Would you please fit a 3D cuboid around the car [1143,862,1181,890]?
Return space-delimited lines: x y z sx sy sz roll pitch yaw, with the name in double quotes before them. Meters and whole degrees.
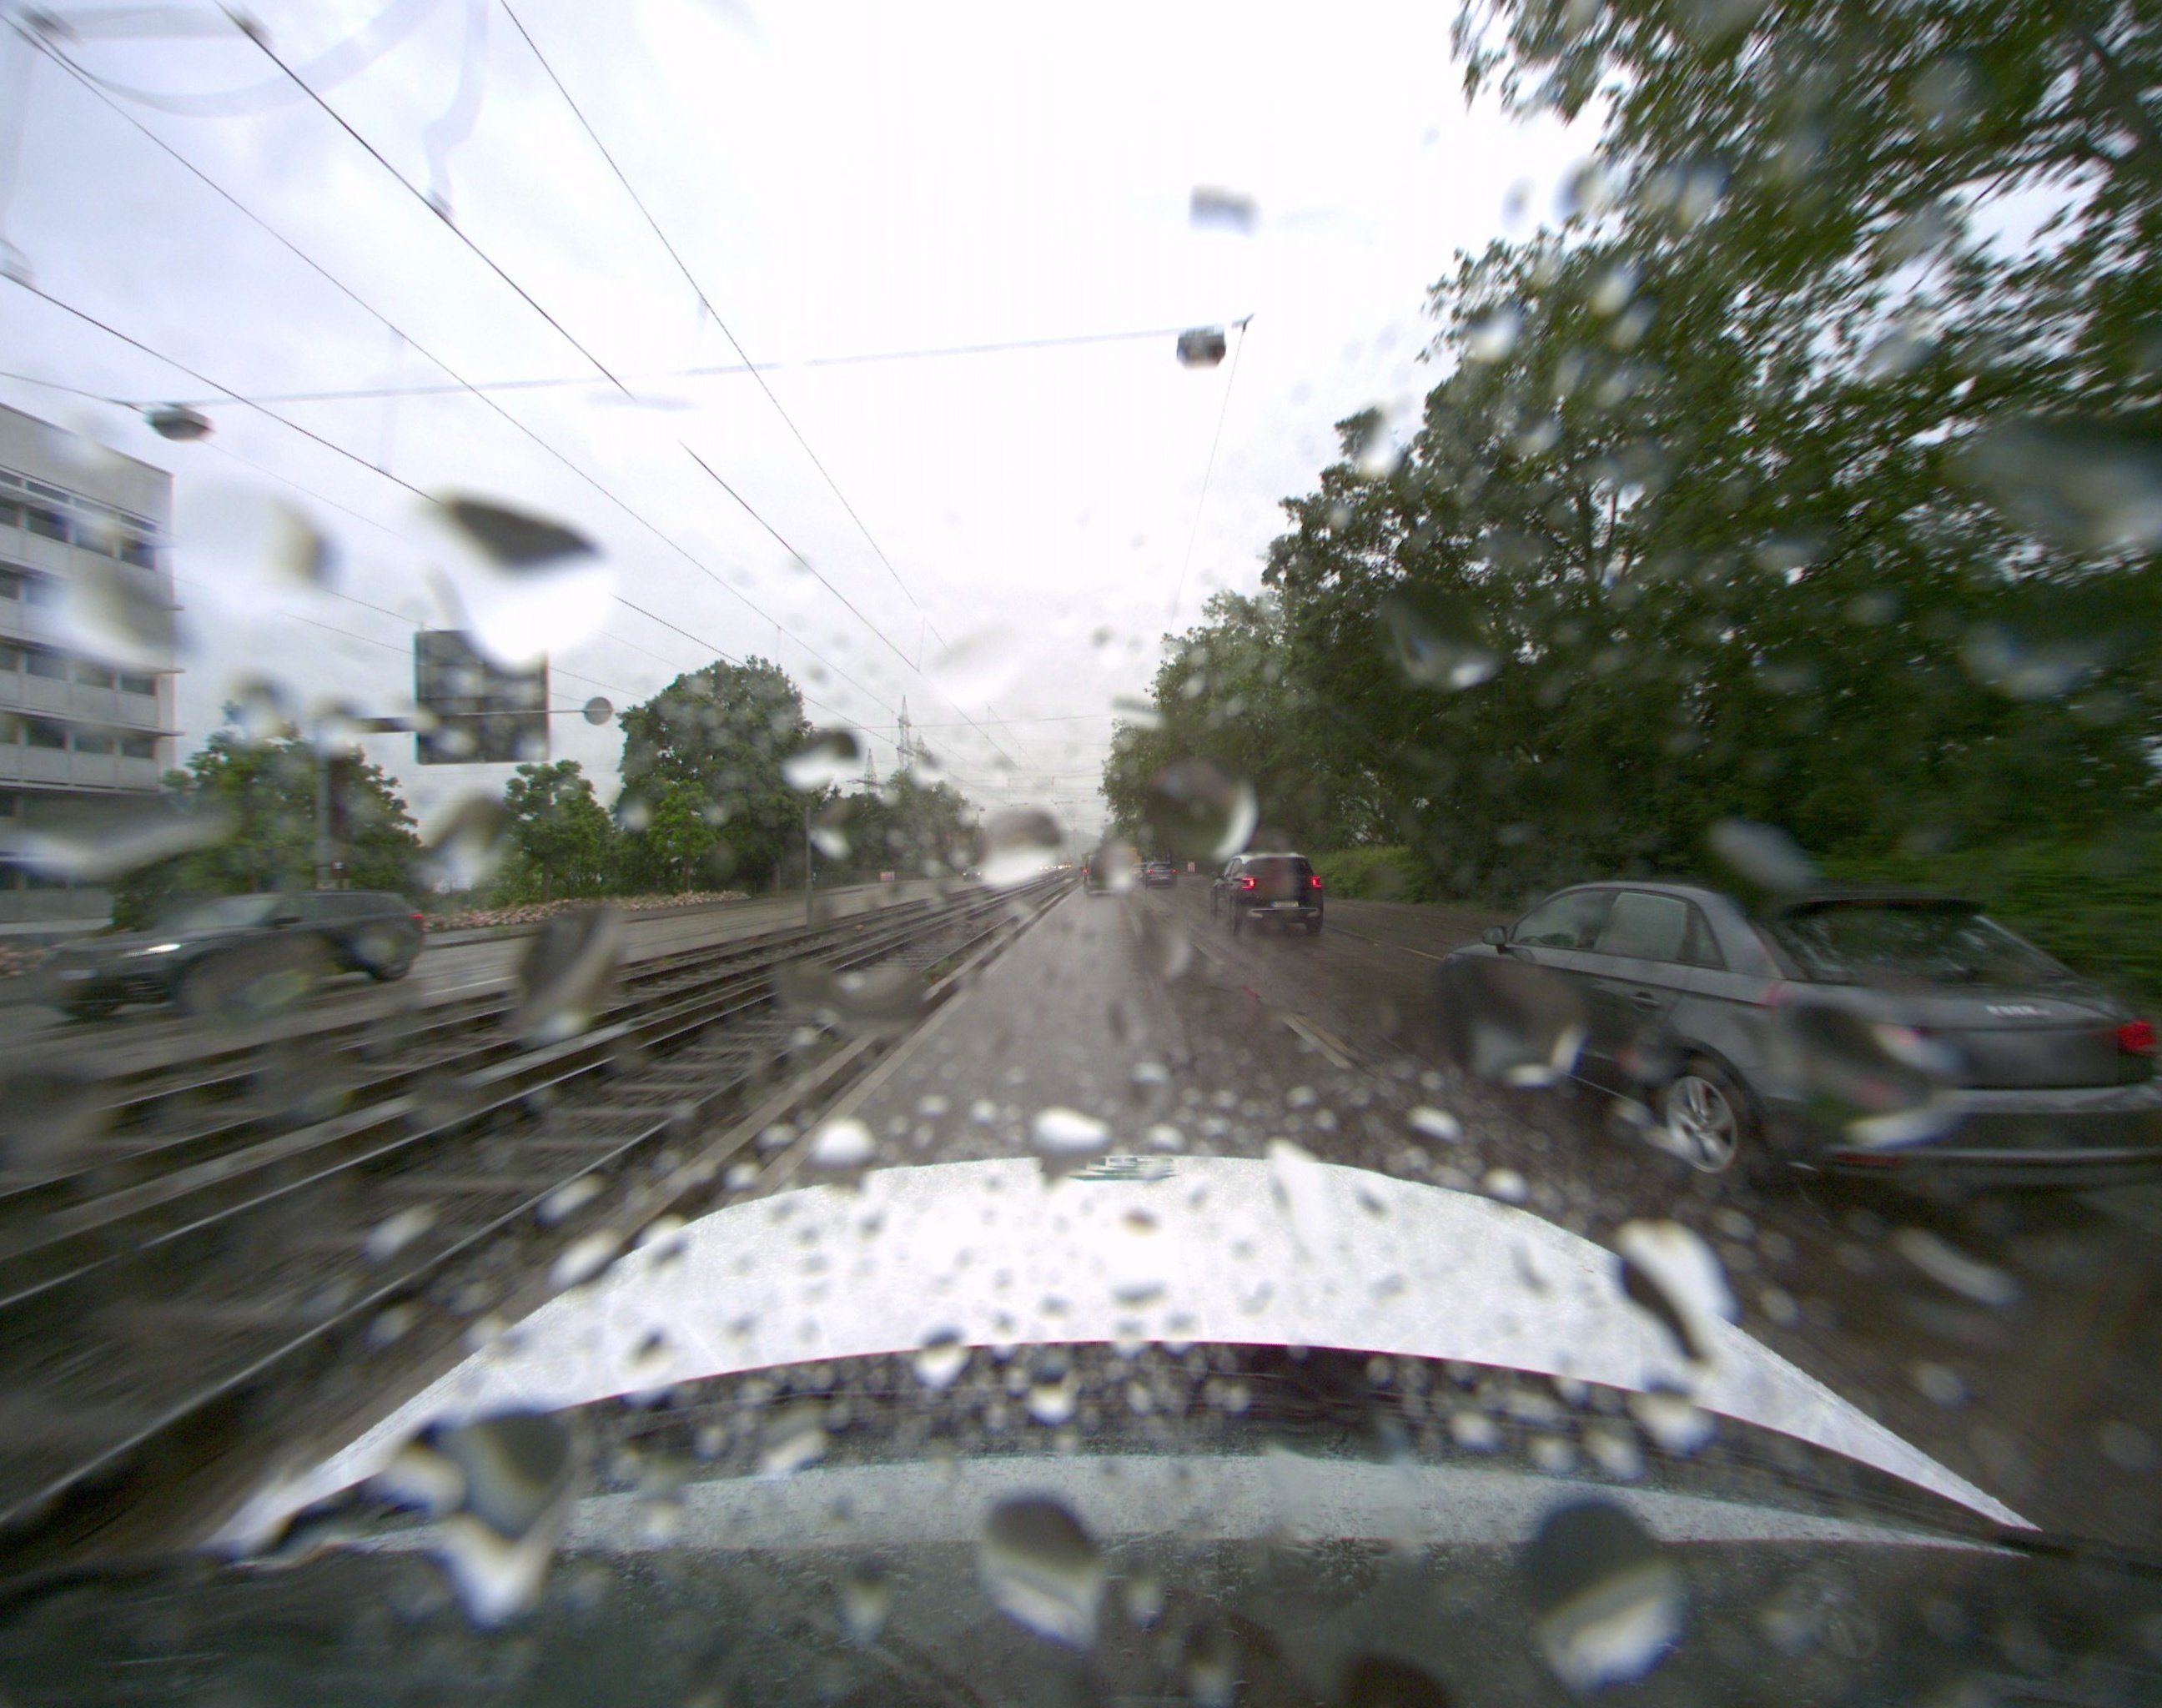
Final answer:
"car" 4.412 1.175 44.905 1.811 1.414 3.780 -1 0 2

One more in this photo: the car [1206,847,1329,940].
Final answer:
"car" 3.873 0.729 17.663 1.891 1.717 4.731 -1 0 4

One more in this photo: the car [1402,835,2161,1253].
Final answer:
"car" 3.751 0.677 5.016 1.961 1.528 3.990 -1 0 0

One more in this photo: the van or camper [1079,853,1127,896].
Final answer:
"van or camper" 0.919 0.871 36.916 1.988 1.784 3.998 0 1 -1

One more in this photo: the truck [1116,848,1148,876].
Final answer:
"truck" 5.356 0.817 86.448 3.102 2.773 6.330 -1 0 1

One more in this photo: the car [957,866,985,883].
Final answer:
"car" -10.937 2.028 81.417 1.985 1.618 4.256 -2 0 3

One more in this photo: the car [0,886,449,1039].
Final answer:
"car" -13.173 1.523 13.121 1.986 1.721 4.883 -3 0 2

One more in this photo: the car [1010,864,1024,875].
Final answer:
"car" -11.227 2.769 143.644 1.987 1.816 4.659 -2 0 1

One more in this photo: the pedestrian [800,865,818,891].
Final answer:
"pedestrian" -19.067 1.663 57.099 0.848 1.759 1.121 -3 0 1

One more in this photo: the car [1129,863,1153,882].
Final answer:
"car" 4.715 1.434 64.392 1.811 1.414 3.780 -1 0 2
